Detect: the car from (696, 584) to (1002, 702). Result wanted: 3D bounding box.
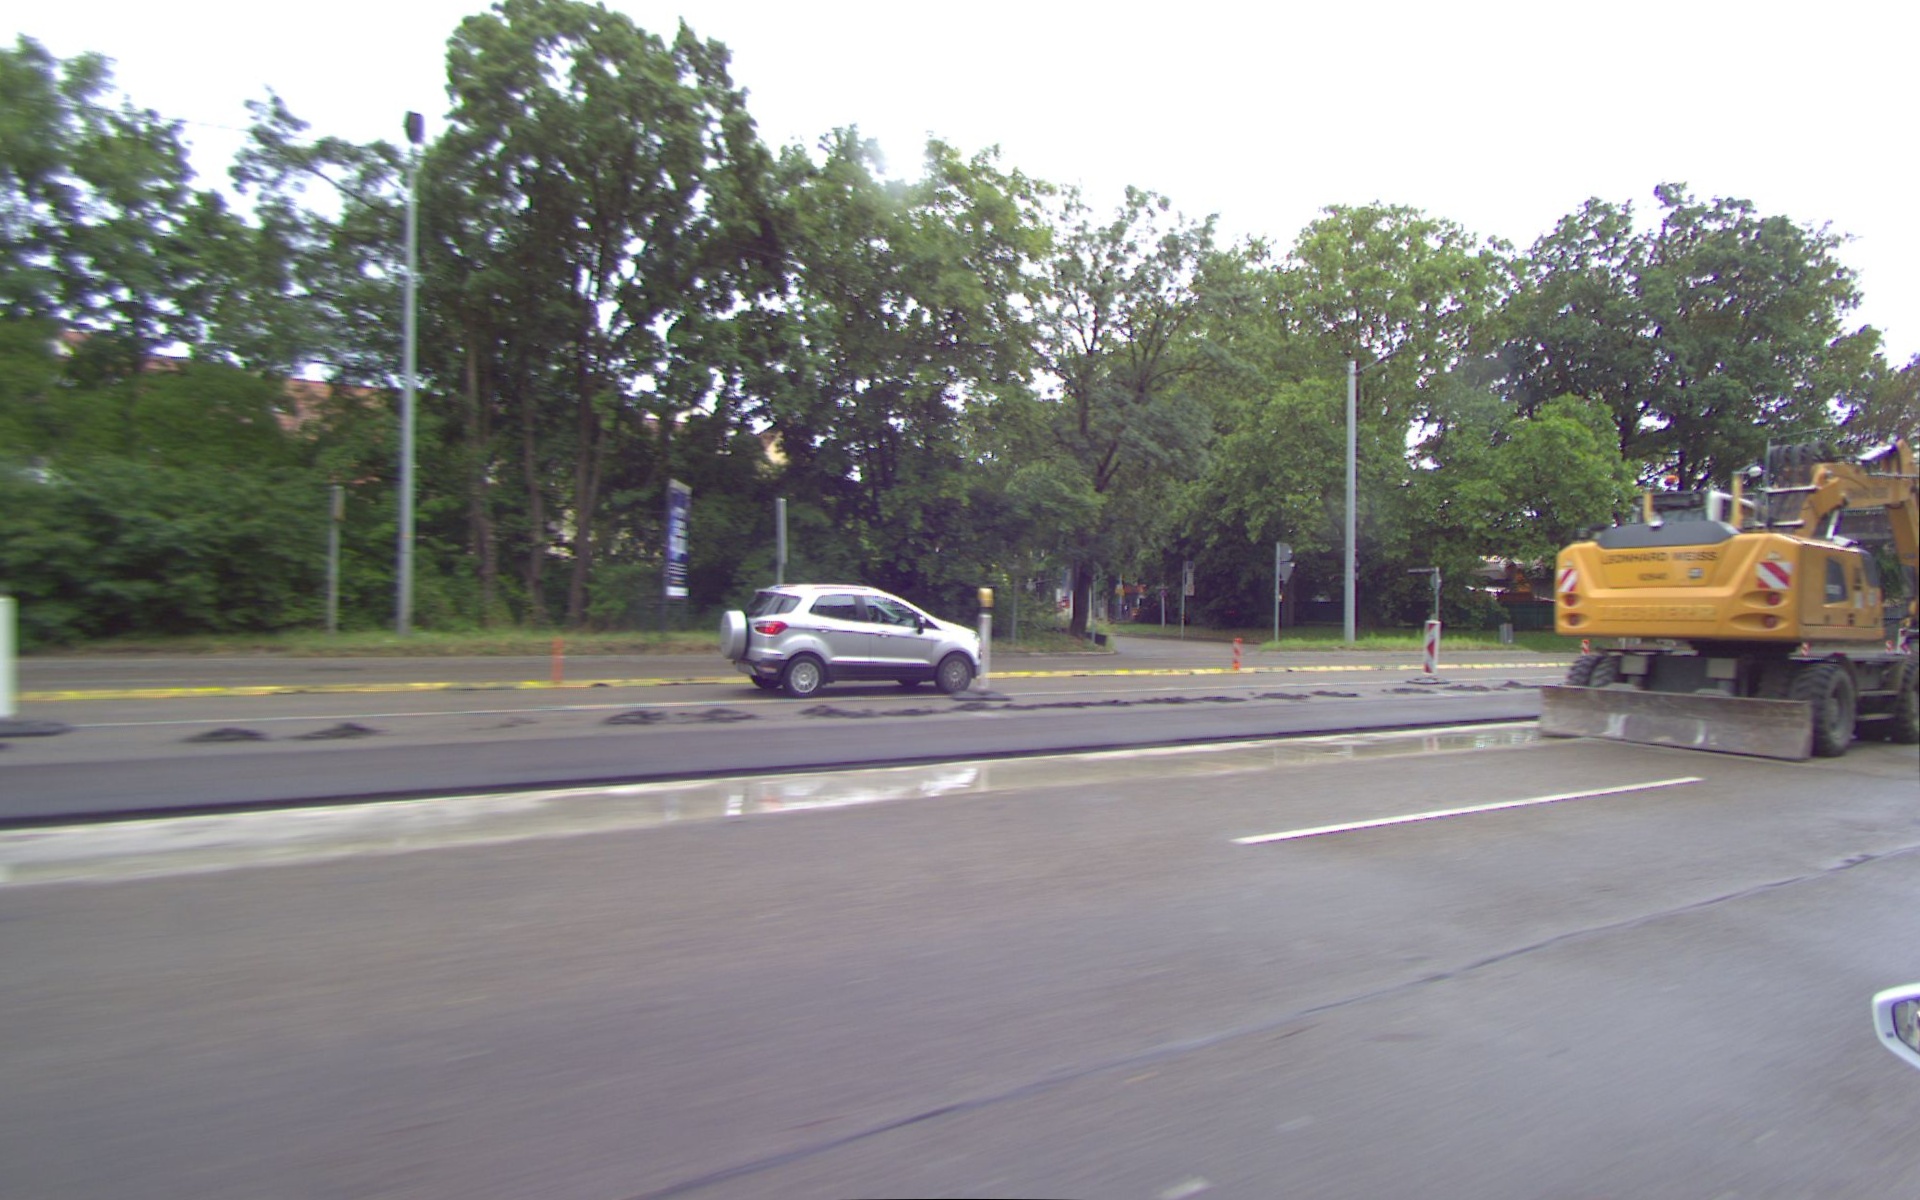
[{"bbox_3d":[-1.680,0.609,15.556,4.312,1.585,1.879,1,1,-30],"label":"car"}]

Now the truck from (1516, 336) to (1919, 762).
[{"bbox_3d":[12.196,-0.427,14.395,10.645,4.316,2.879,1,0,-35],"label":"truck"}]
